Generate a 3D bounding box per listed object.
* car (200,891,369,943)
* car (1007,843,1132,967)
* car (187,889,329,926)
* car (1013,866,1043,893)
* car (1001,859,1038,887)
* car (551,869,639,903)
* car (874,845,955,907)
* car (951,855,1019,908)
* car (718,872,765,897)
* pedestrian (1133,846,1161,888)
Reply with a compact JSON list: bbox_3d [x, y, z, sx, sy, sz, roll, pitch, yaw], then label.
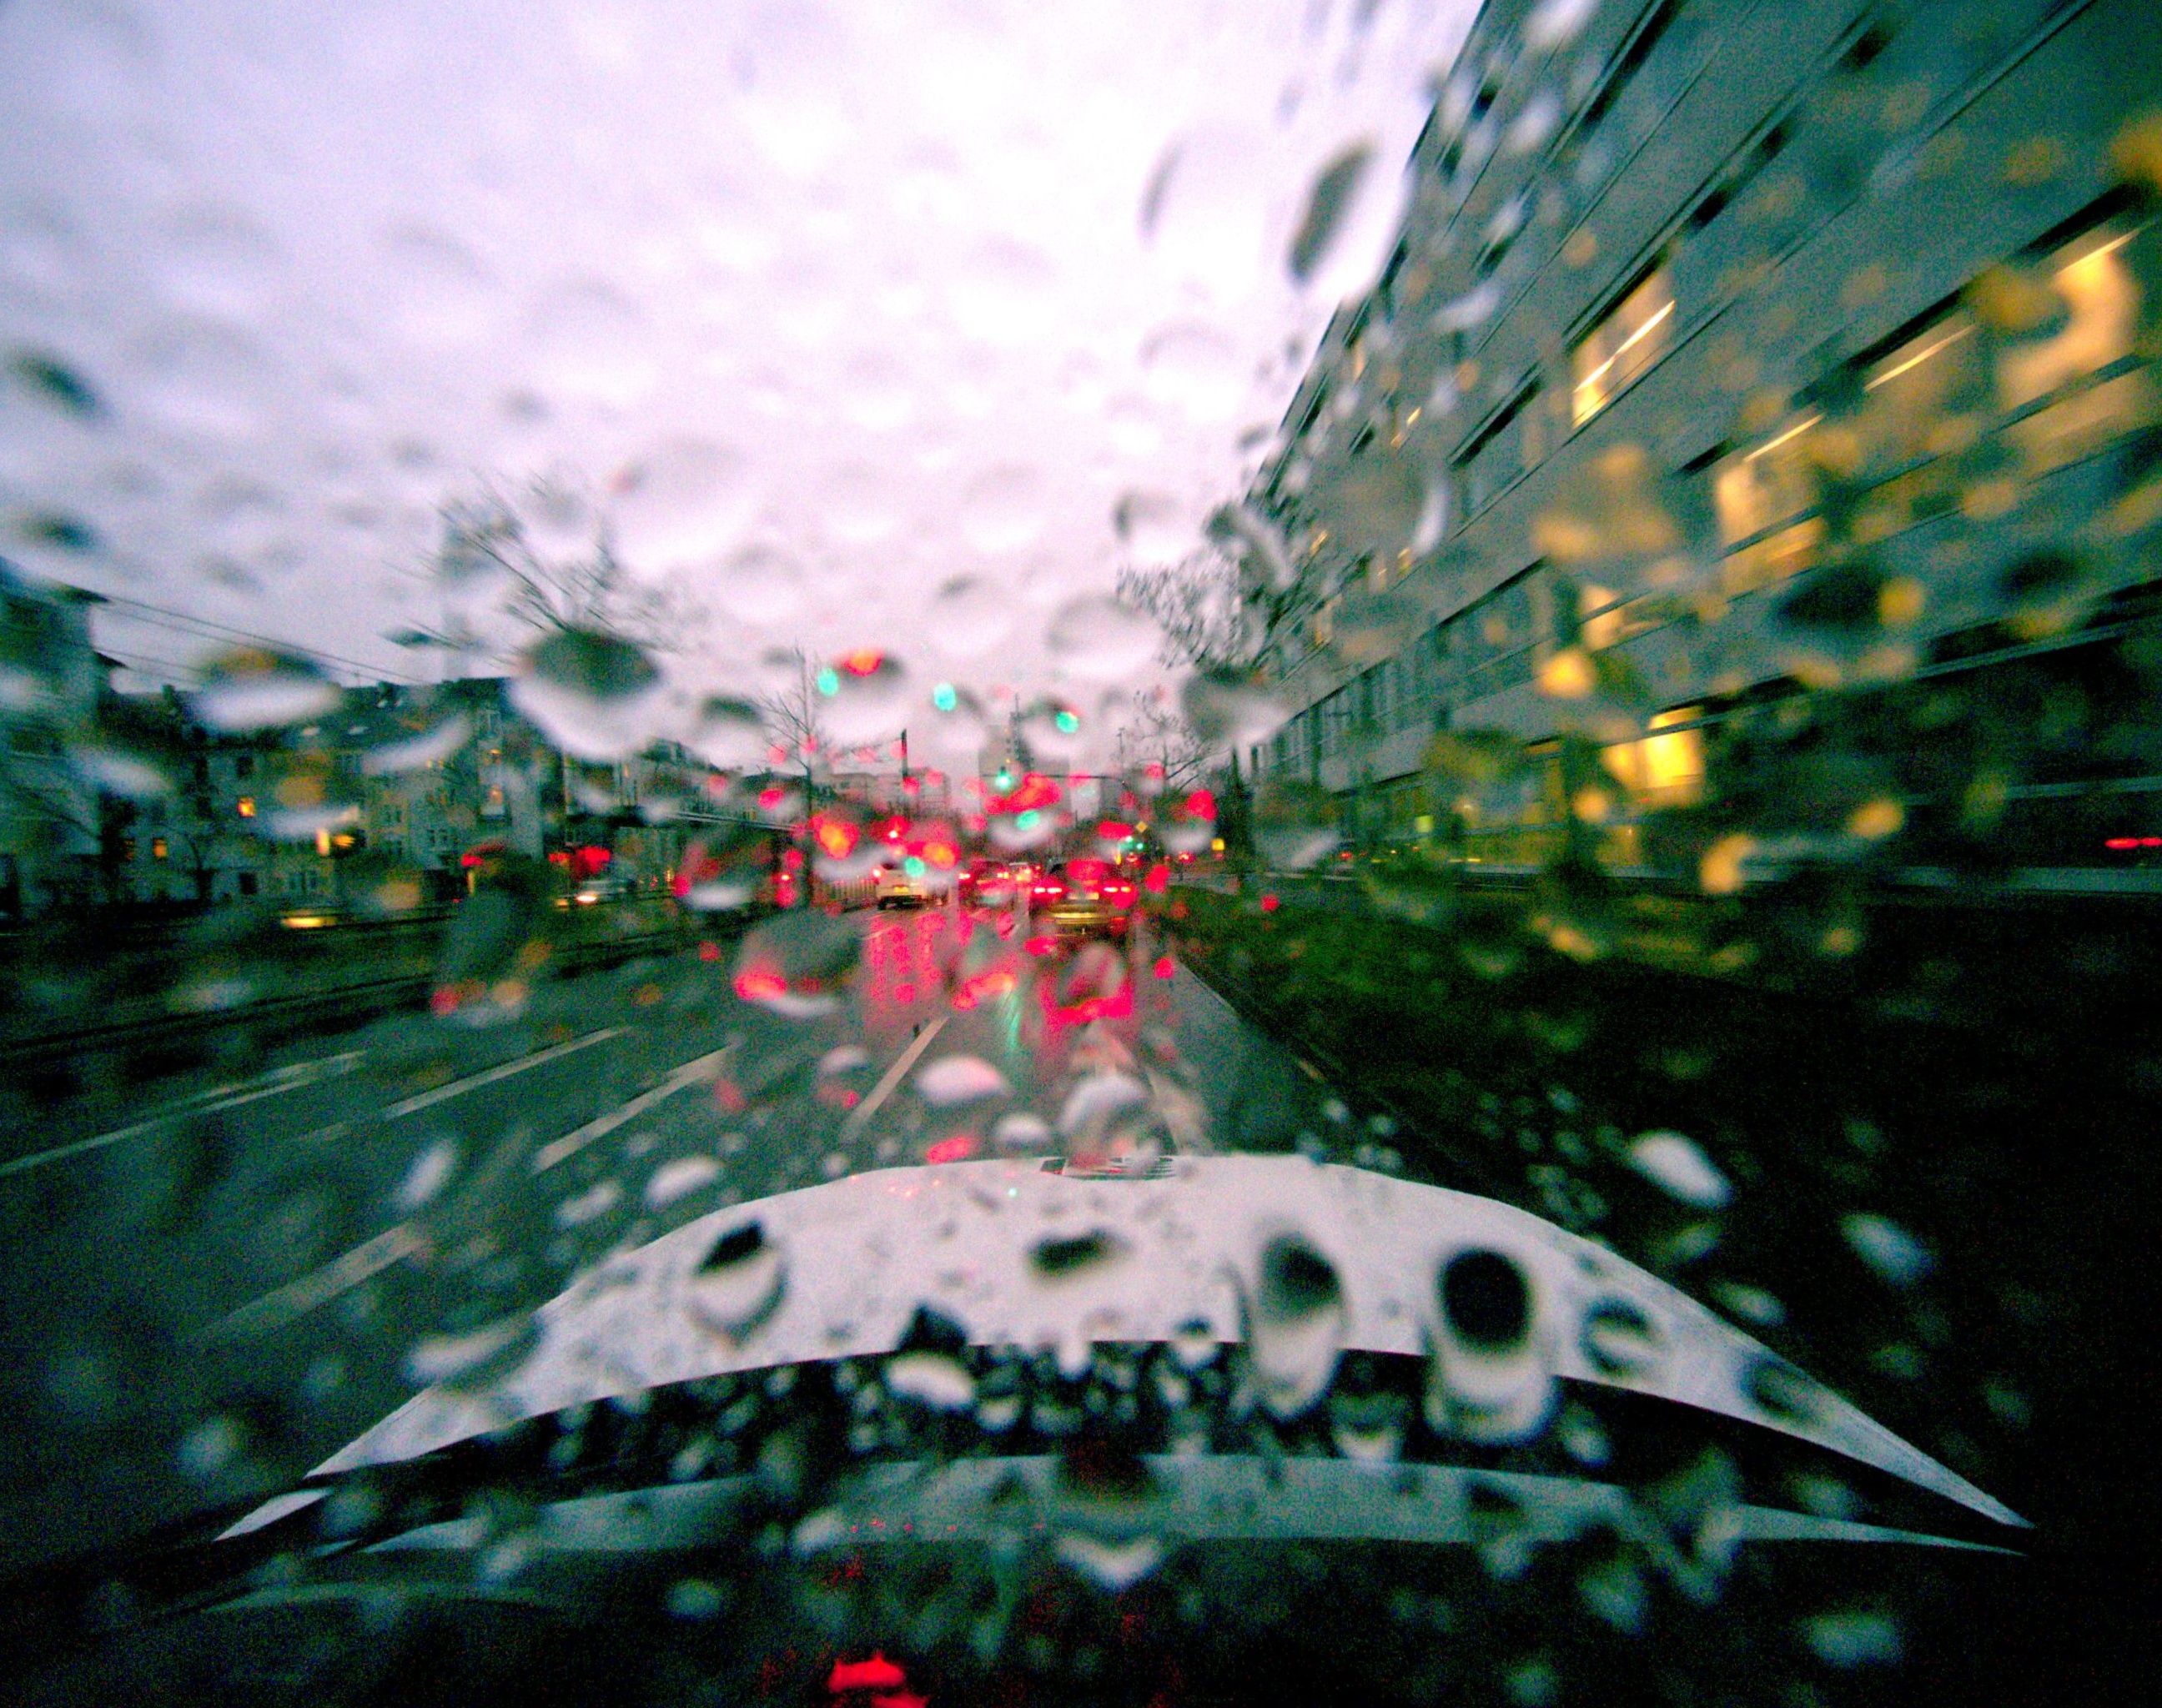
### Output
[{"bbox_3d":[-25.826,2.002,26.614,1.753,1.497,3.758,-1,-2,1],"label":"car"},{"bbox_3d":[-0.199,0.873,15.237,1.987,1.976,4.066,-1,-2,-1],"label":"car"},{"bbox_3d":[-33.245,2.139,32.991,3.793,1.366,1.695,-1,-2,-6],"label":"car"},{"bbox_3d":[-4.252,2.049,65.613,1.986,2.014,4.001,-1,-2,2],"label":"car"},{"bbox_3d":[-3.744,1.178,50.093,1.987,1.642,4.020,-1,-2,-1],"label":"car"},{"bbox_3d":[-22.659,1.475,38.155,1.752,1.497,3.761,-1,-2,3],"label":"car"},{"bbox_3d":[-5.963,0.760,29.741,1.946,2.033,4.881,-1,-1,0],"label":"car"},{"bbox_3d":[-3.323,0.974,28.879,1.988,1.712,4.321,-1,-2,-2],"label":"car"},{"bbox_3d":[-23.278,2.086,55.908,1.672,1.613,3.339,-1,-2,3],"label":"car"},{"bbox_3d":[2.957,0.582,36.481,0.788,1.750,0.867,-7,-1,26],"label":"pedestrian"}]
